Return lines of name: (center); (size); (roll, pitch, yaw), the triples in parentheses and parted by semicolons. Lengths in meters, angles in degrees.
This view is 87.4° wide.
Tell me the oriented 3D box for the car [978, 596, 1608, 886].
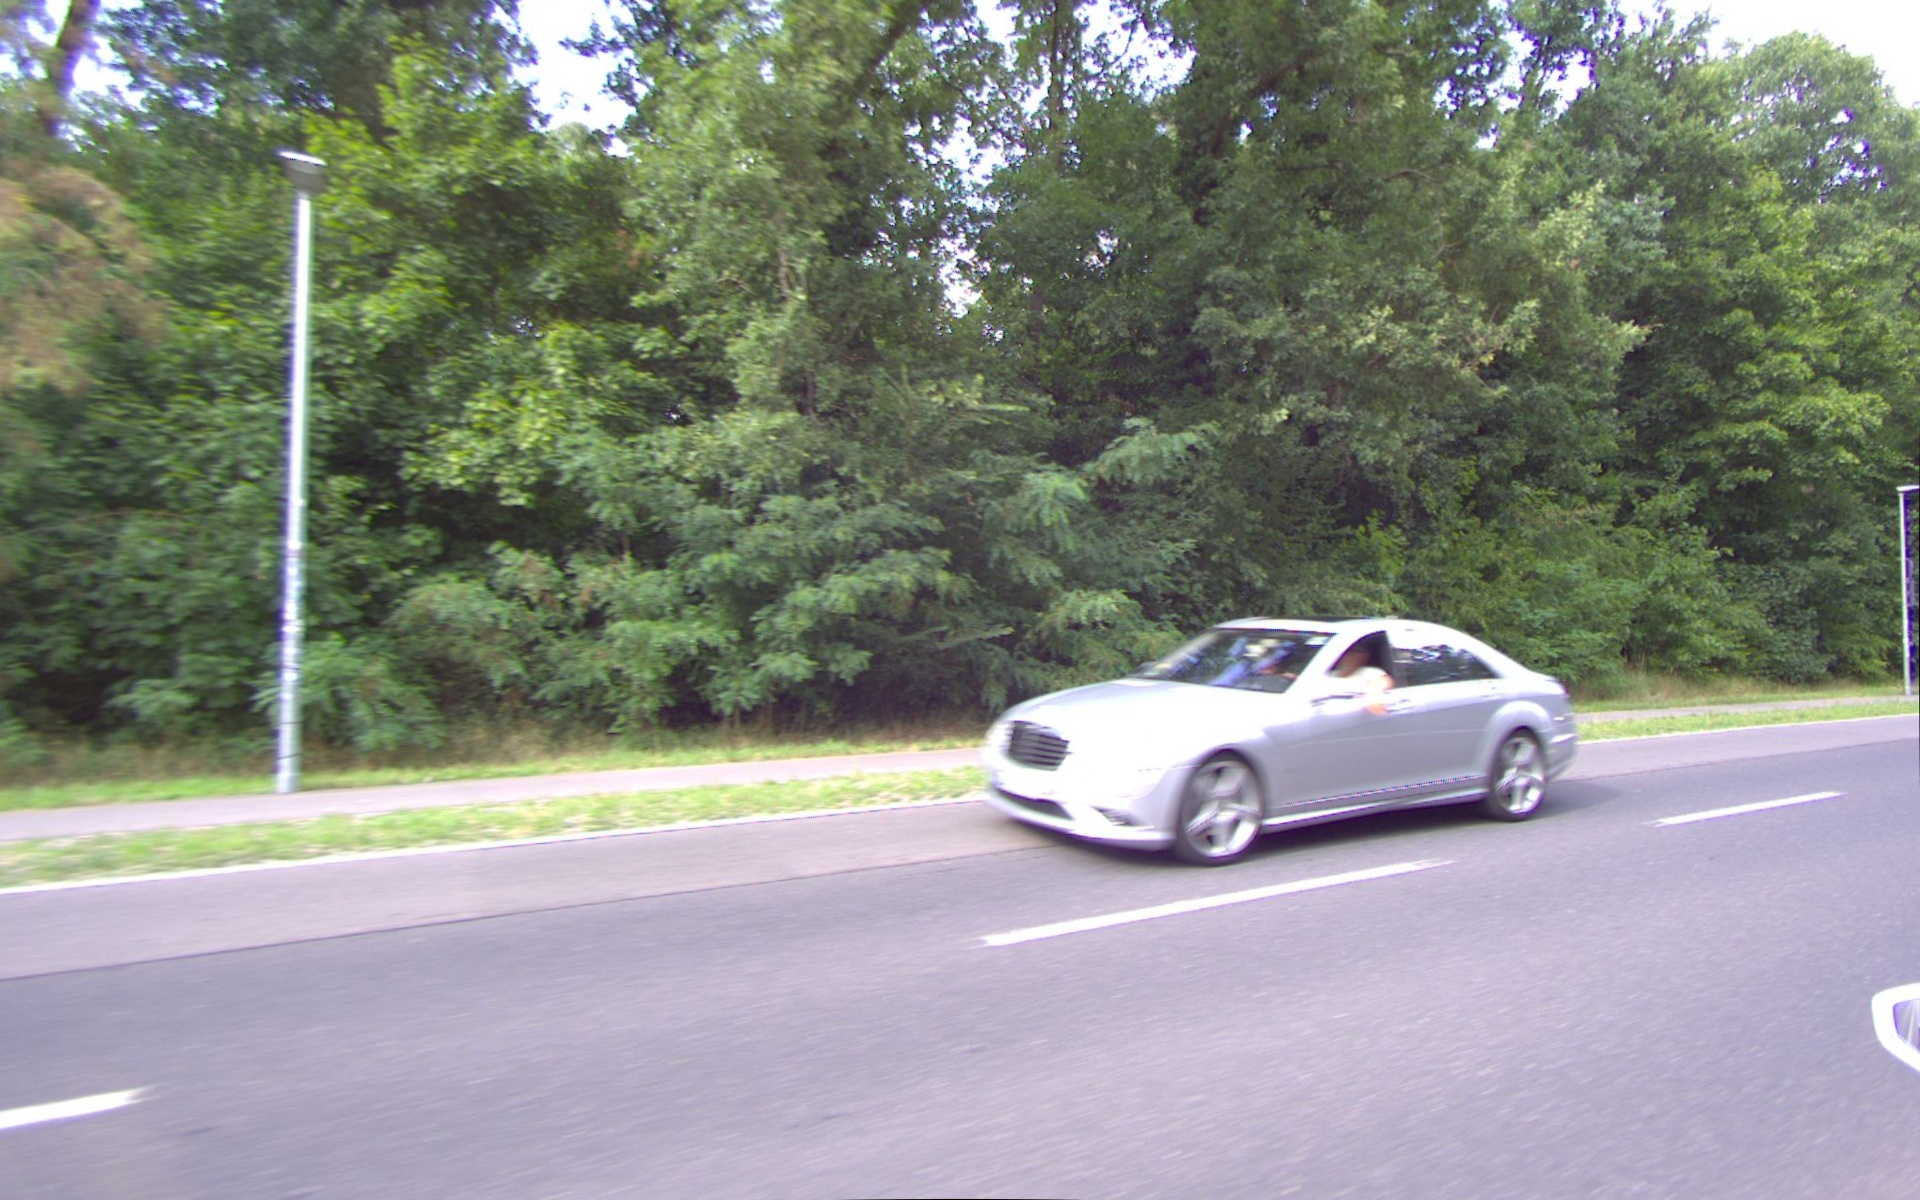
car: (2.610, 0.866, 7.603); (4.550, 1.584, 1.984); (2, 0, -30)
